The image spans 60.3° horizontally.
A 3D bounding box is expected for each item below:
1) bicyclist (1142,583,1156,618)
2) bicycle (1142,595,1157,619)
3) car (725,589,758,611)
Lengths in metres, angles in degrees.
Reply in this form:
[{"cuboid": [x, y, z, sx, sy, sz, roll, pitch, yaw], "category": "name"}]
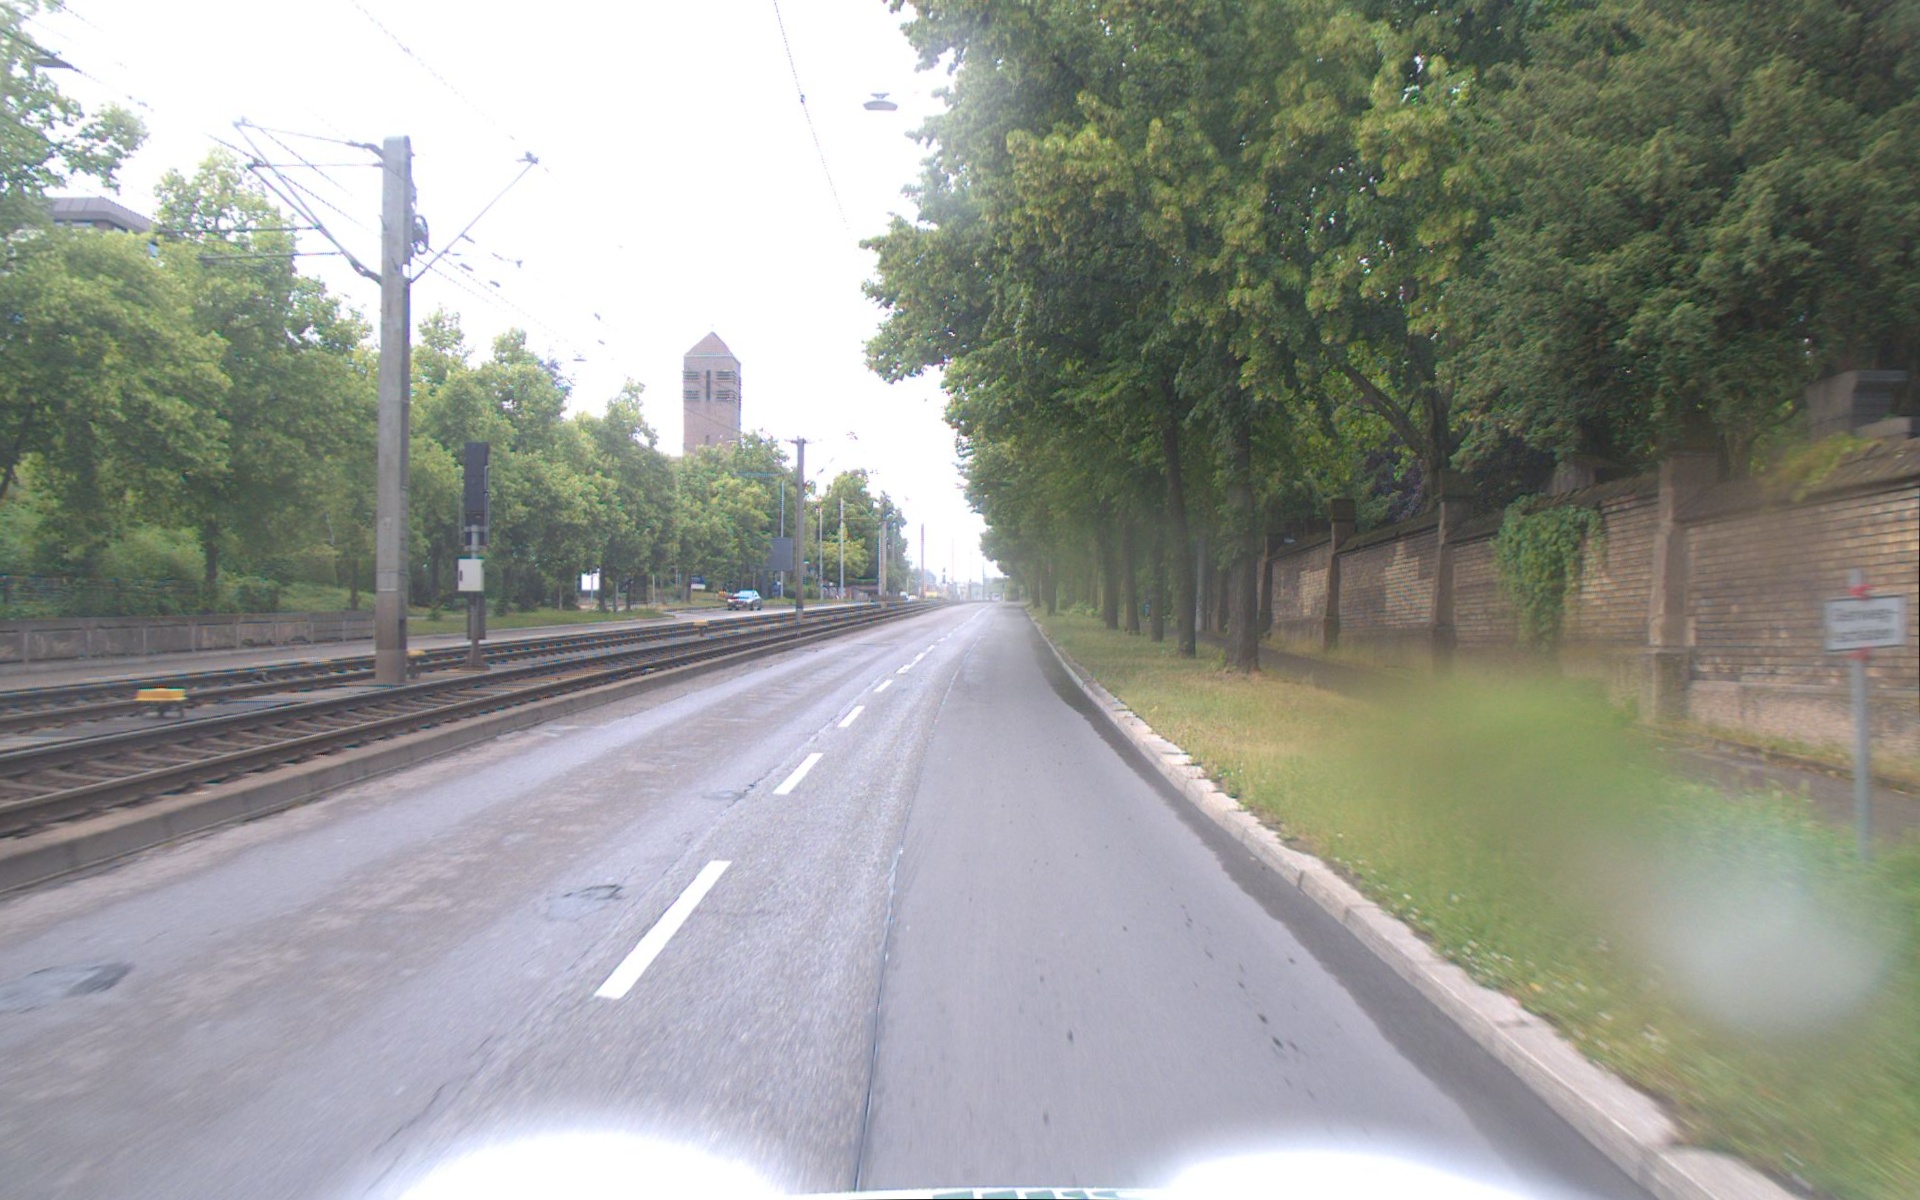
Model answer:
[{"cuboid": [7.695, 0.015, 67.328, 0.523, 1.414, 0.667, 0, 0, 5], "category": "bicyclist"}, {"cuboid": [7.685, 0.296, 67.266, 0.531, 0.964, 2.551, 0, 0, 5], "category": "bicycle"}, {"cuboid": [-16.019, 0.024, 121.310, 1.757, 1.557, 4.622, 0, 0, 0], "category": "car"}]
